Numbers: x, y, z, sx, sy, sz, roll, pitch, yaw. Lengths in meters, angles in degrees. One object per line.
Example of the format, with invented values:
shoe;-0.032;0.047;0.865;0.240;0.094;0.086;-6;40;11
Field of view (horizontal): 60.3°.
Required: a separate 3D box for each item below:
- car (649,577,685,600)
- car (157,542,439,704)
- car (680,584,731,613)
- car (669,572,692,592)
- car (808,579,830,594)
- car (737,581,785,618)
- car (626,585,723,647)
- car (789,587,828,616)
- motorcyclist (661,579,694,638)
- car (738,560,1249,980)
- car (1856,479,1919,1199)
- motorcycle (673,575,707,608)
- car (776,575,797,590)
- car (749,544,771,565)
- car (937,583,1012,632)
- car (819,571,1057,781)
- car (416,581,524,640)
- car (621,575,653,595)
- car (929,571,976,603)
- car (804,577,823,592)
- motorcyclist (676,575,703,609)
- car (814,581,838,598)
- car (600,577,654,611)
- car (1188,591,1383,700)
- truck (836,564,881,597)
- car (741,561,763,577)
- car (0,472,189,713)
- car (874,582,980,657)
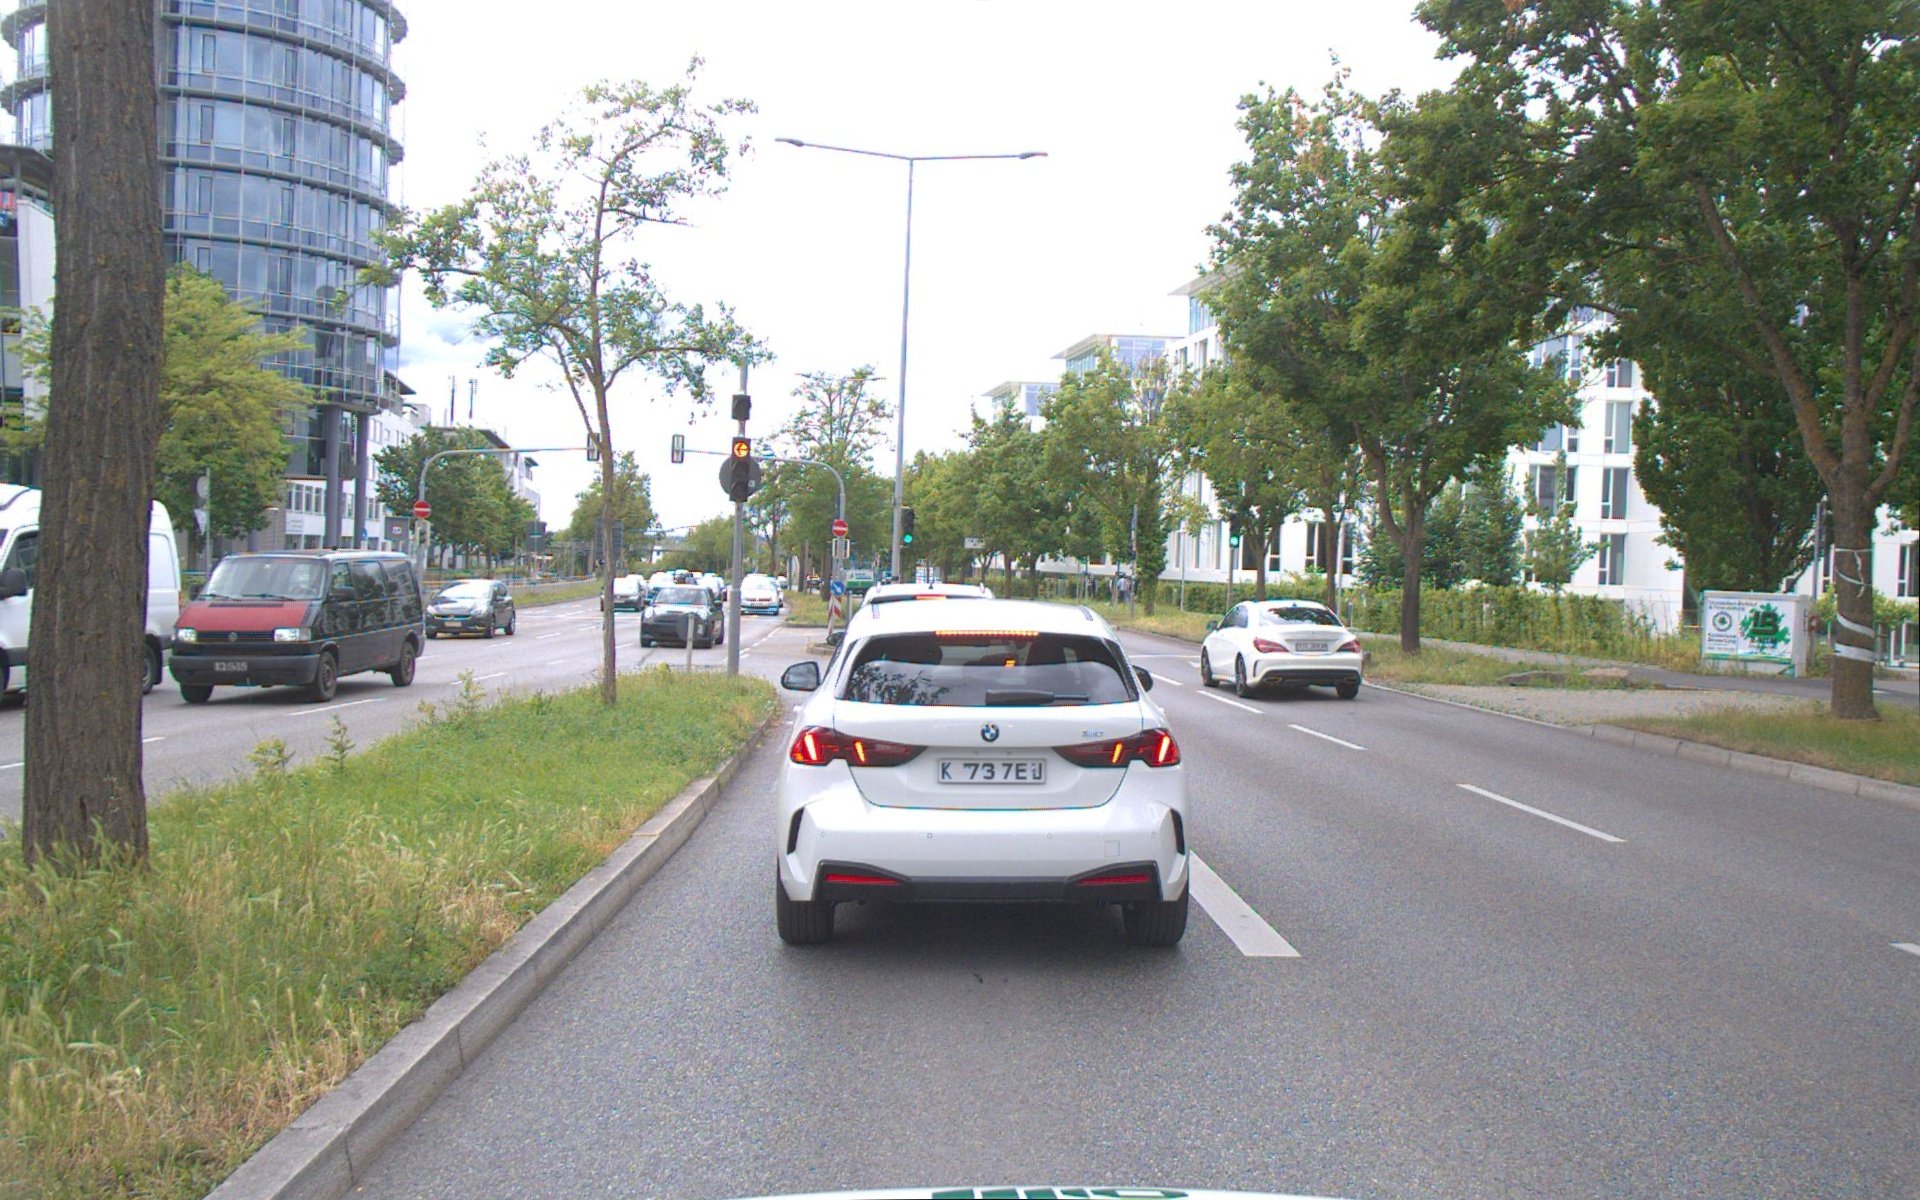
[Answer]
car;-18.885;-0.723;106.760;1.673;1.443;3.802;0;0;-1
car;-8.805;0.264;22.530;1.896;1.951;4.972;0;0;-1
car;-12.676;-0.097;82.600;1.953;1.378;3.999;1;0;-1
car;-29.888;-1.922;176.738;1.954;2.046;4.321;1;0;-4
car;-15.219;-1.419;178.378;1.957;1.534;3.991;1;0;-9
car;-8.596;-0.036;71.706;1.673;1.523;3.802;0;0;-1
car;-6.795;0.351;39.742;1.718;1.395;3.779;0;0;-1
car;-7.814;0.078;85.536;1.633;1.429;3.999;1;0;-1
motorcyclist;-9.195;0.276;53.900;0.831;1.869;1.259;1;0;-1
car;0.176;0.623;8.018;1.824;1.474;4.001;2;0;1
car;2.949;0.610;1.424;1.927;1.669;4.311;0;0;-2
motorcycle;-11.825;-0.377;72.619;0.871;1.422;3.999;1;0;-1
car;-18.956;-1.896;180.889;1.954;1.516;3.997;2;0;-3
car;-21.052;-4.792;173.919;1.954;2.045;4.321;3;0;-4
car;0.429;0.200;55.262;2.013;1.512;4.968;-1;1;-5
car;-0.184;0.641;15.829;1.953;1.701;4.000;2;0;0
car;-12.737;0.250;43.217;1.673;1.443;4.018;0;0;-1
car;-23.935;-1.121;122.687;1.673;1.443;3.802;0;0;-1
car;-0.421;-0.691;88.498;1.956;1.624;3.993;2;0;-8
car;-15.984;-1.727;180.851;1.954;1.516;3.997;2;0;-3
motorcyclist;-11.831;-0.351;72.469;0.891;1.416;1.673;1;0;-1
car;-12.359;-0.953;151.821;1.956;1.534;3.993;1;0;-8
car;-14.766;-0.264;73.517;1.673;1.443;3.802;0;0;-1
car;4.924;0.646;25.706;1.758;1.498;4.695;2;0;-4
truck;-8.239;-1.530;134.123;2.808;2.563;6.271;2;0;-11
car;-24.026;-3.582;190.968;1.953;1.646;3.999;3;0;-1
car;-11.689;-0.115;20.169;1.953;2.680;5.873;1;0;-2
car;-0.673;0.424;37.146;1.951;1.534;4.002;1;0;5
